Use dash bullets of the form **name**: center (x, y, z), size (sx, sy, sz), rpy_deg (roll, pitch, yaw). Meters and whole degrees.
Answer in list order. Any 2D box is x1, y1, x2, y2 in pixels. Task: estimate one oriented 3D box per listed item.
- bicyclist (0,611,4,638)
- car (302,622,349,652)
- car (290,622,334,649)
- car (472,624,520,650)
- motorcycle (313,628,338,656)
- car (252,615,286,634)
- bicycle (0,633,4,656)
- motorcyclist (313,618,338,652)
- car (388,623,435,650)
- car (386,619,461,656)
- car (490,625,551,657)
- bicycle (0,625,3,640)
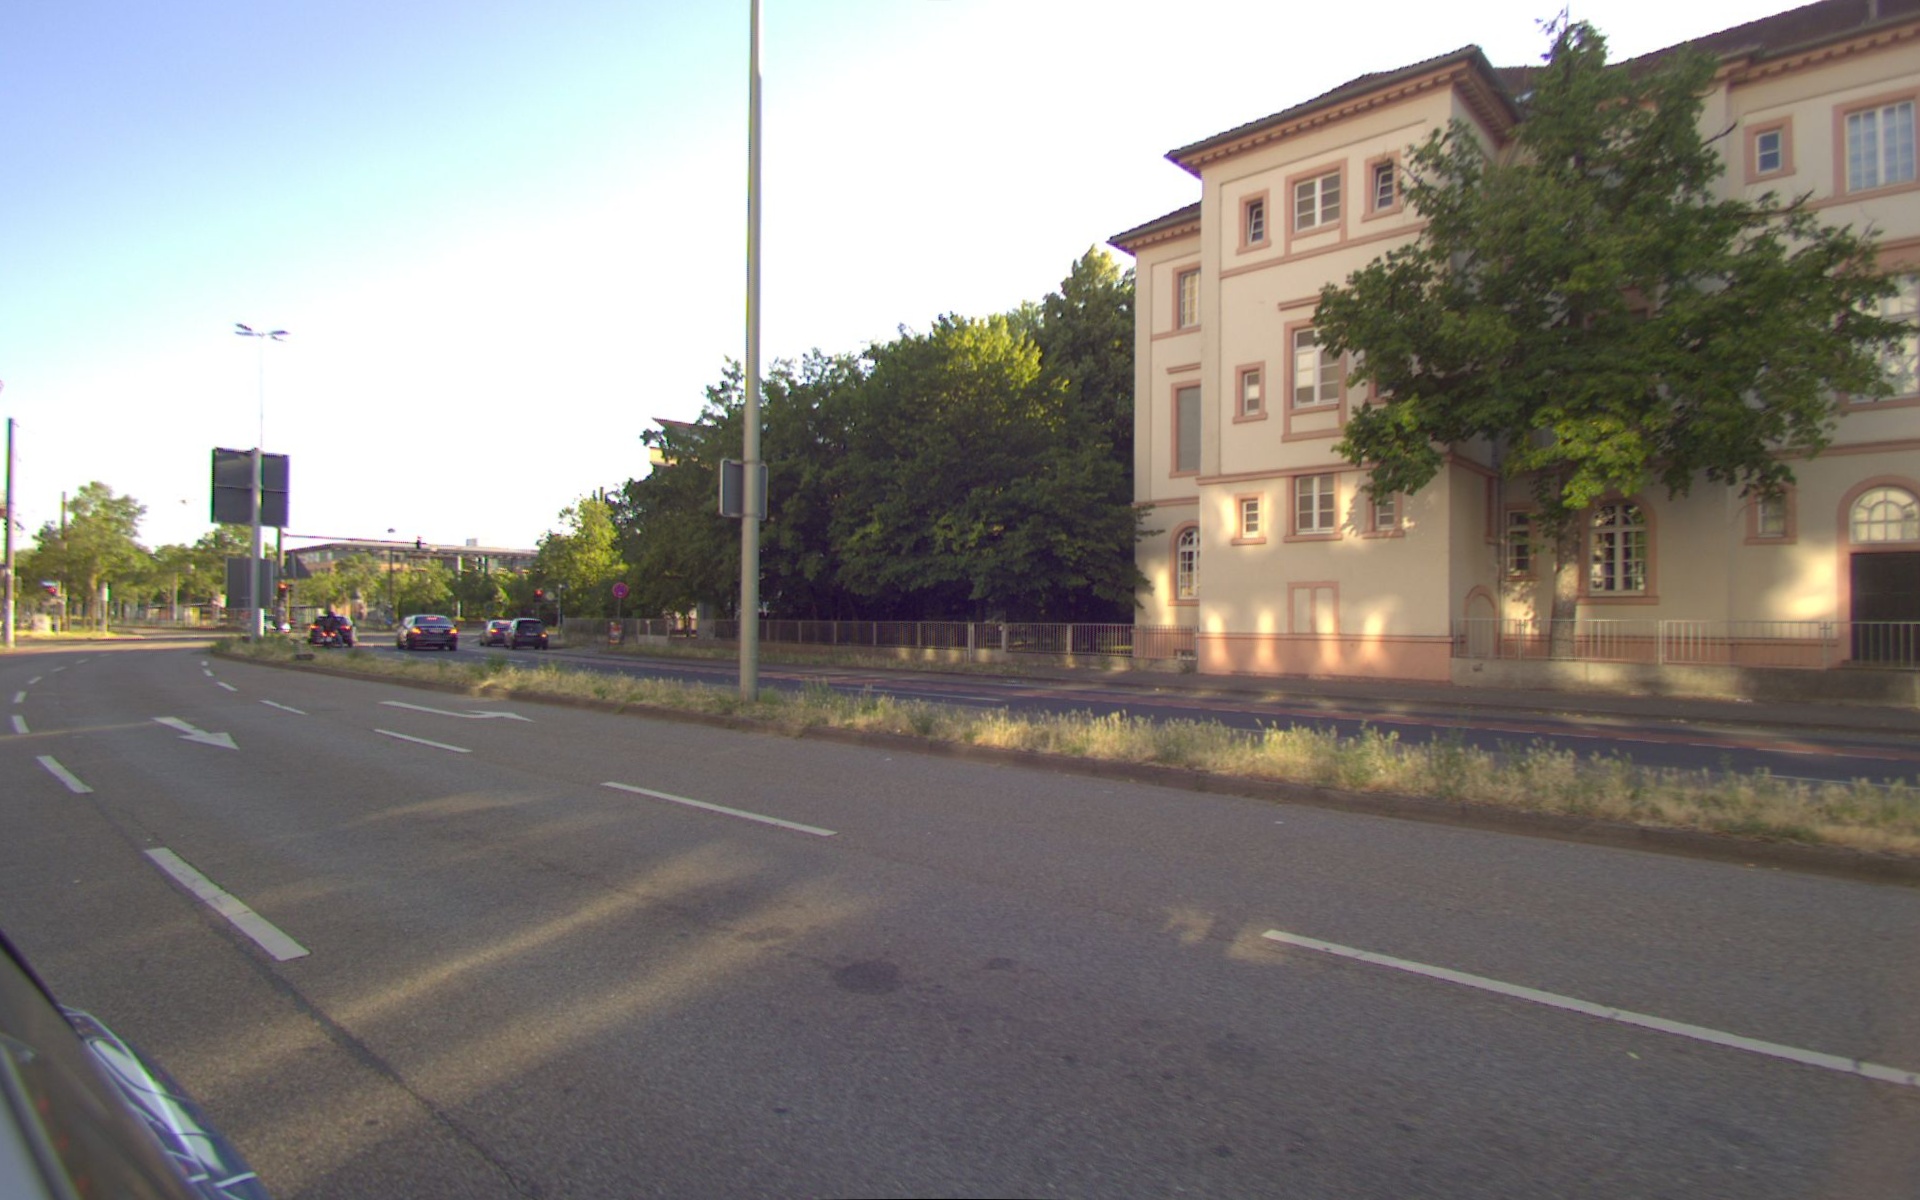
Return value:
- **bicyclist**: center (-67.216, 1.678, 70.302), size (1.056, 1.856, 1.305), rpy_deg (2, -2, -42)
- **car**: center (-28.690, 1.669, 45.831), size (1.695, 1.306, 4.389), rpy_deg (1, -2, -32)
- **car**: center (-33.370, 1.807, 52.188), size (1.695, 1.306, 4.261), rpy_deg (1, -2, -30)
- **car**: center (-24.538, 1.948, 53.501), size (1.695, 1.306, 3.905), rpy_deg (1, -2, -34)
- **motorcycle**: center (-26.311, 1.734, 41.966), size (0.847, 1.116, 2.477), rpy_deg (1, -2, -32)
- **car**: center (-58.230, 2.069, 85.224), size (1.968, 1.586, 4.007), rpy_deg (2, -2, -40)
- **bicycle**: center (-44.792, 2.051, 46.533), size (0.393, 1.037, 1.676), rpy_deg (1, -2, -13)
- **motorcyclist**: center (-26.238, 1.445, 41.835), size (0.840, 1.409, 1.064), rpy_deg (1, -2, -32)
- **car**: center (-27.368, 1.801, 50.449), size (1.695, 1.329, 3.905), rpy_deg (1, -2, -34)
- **car**: center (-23.223, 1.585, 43.741), size (1.968, 1.507, 5.303), rpy_deg (2, -2, -38)
- **car**: center (-21.105, 1.922, 48.529), size (1.829, 1.475, 4.009), rpy_deg (1, -2, -36)
- **bicycle**: center (-67.210, 2.218, 70.266), size (1.056, 1.032, 2.978), rpy_deg (2, -2, -42)
